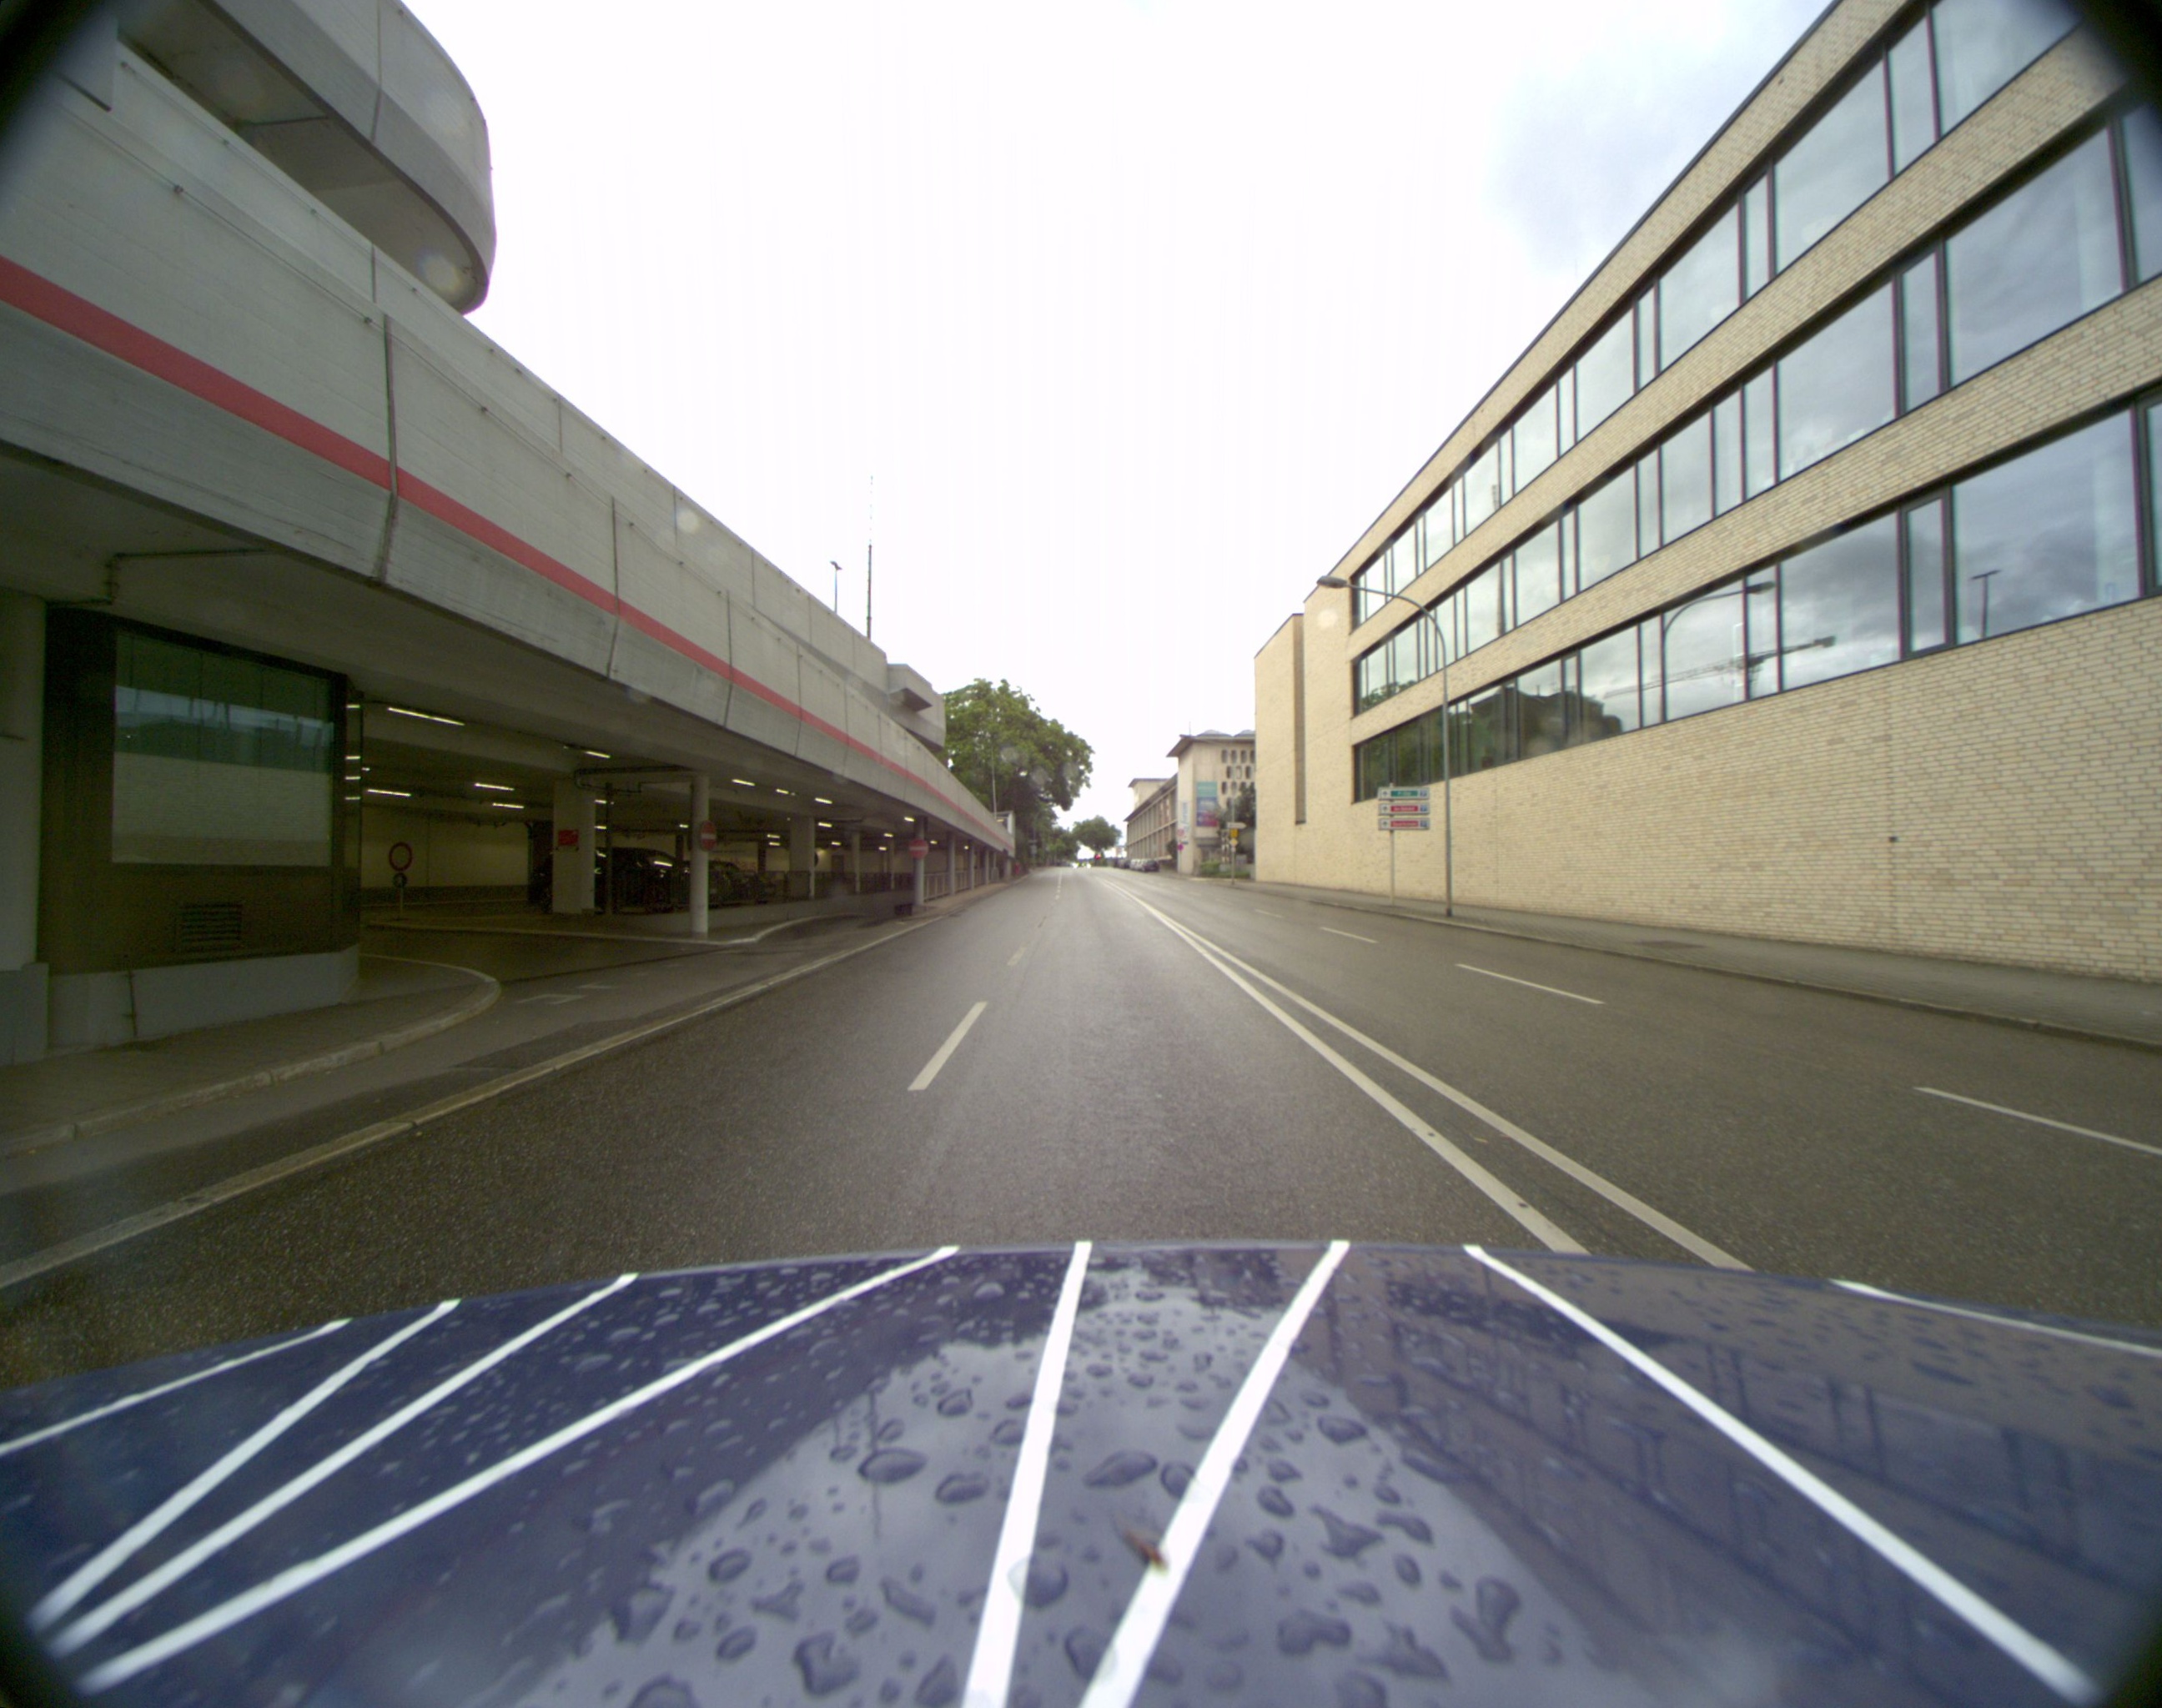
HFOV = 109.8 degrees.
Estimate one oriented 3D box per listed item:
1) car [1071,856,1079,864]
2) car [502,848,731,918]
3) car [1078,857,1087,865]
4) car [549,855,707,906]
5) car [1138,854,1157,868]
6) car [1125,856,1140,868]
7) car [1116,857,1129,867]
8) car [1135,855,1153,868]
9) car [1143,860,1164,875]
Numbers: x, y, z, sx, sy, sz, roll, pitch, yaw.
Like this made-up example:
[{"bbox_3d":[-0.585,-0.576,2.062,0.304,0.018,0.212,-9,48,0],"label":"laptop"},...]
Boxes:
[{"bbox_3d":[-1.602,1.619,206.061,1.998,2.002,3.999,-2,1,1],"label":"car"},{"bbox_3d":[-11.305,0.684,18.681,4.586,1.630,1.822,0,0,4],"label":"car"},{"bbox_3d":[0.424,1.773,195.990,1.806,2.002,3.997,-2,1,-6],"label":"car"},{"bbox_3d":[-13.762,0.799,23.234,3.731,1.496,1.808,0,-1,3],"label":"car"},{"bbox_3d":[8.448,0.839,96.521,1.999,1.632,3.999,-2,1,-1],"label":"car"},{"bbox_3d":[8.278,1.243,121.775,1.999,1.702,3.999,-3,1,-1],"label":"car"},{"bbox_3d":[7.829,1.425,142.622,1.999,1.637,3.998,-3,2,-2],"label":"car"},{"bbox_3d":[8.447,1.024,102.010,1.998,1.503,3.999,-2,1,0],"label":"car"},{"bbox_3d":[8.630,1.595,91.121,1.999,1.520,3.999,-2,1,-2],"label":"car"}]
